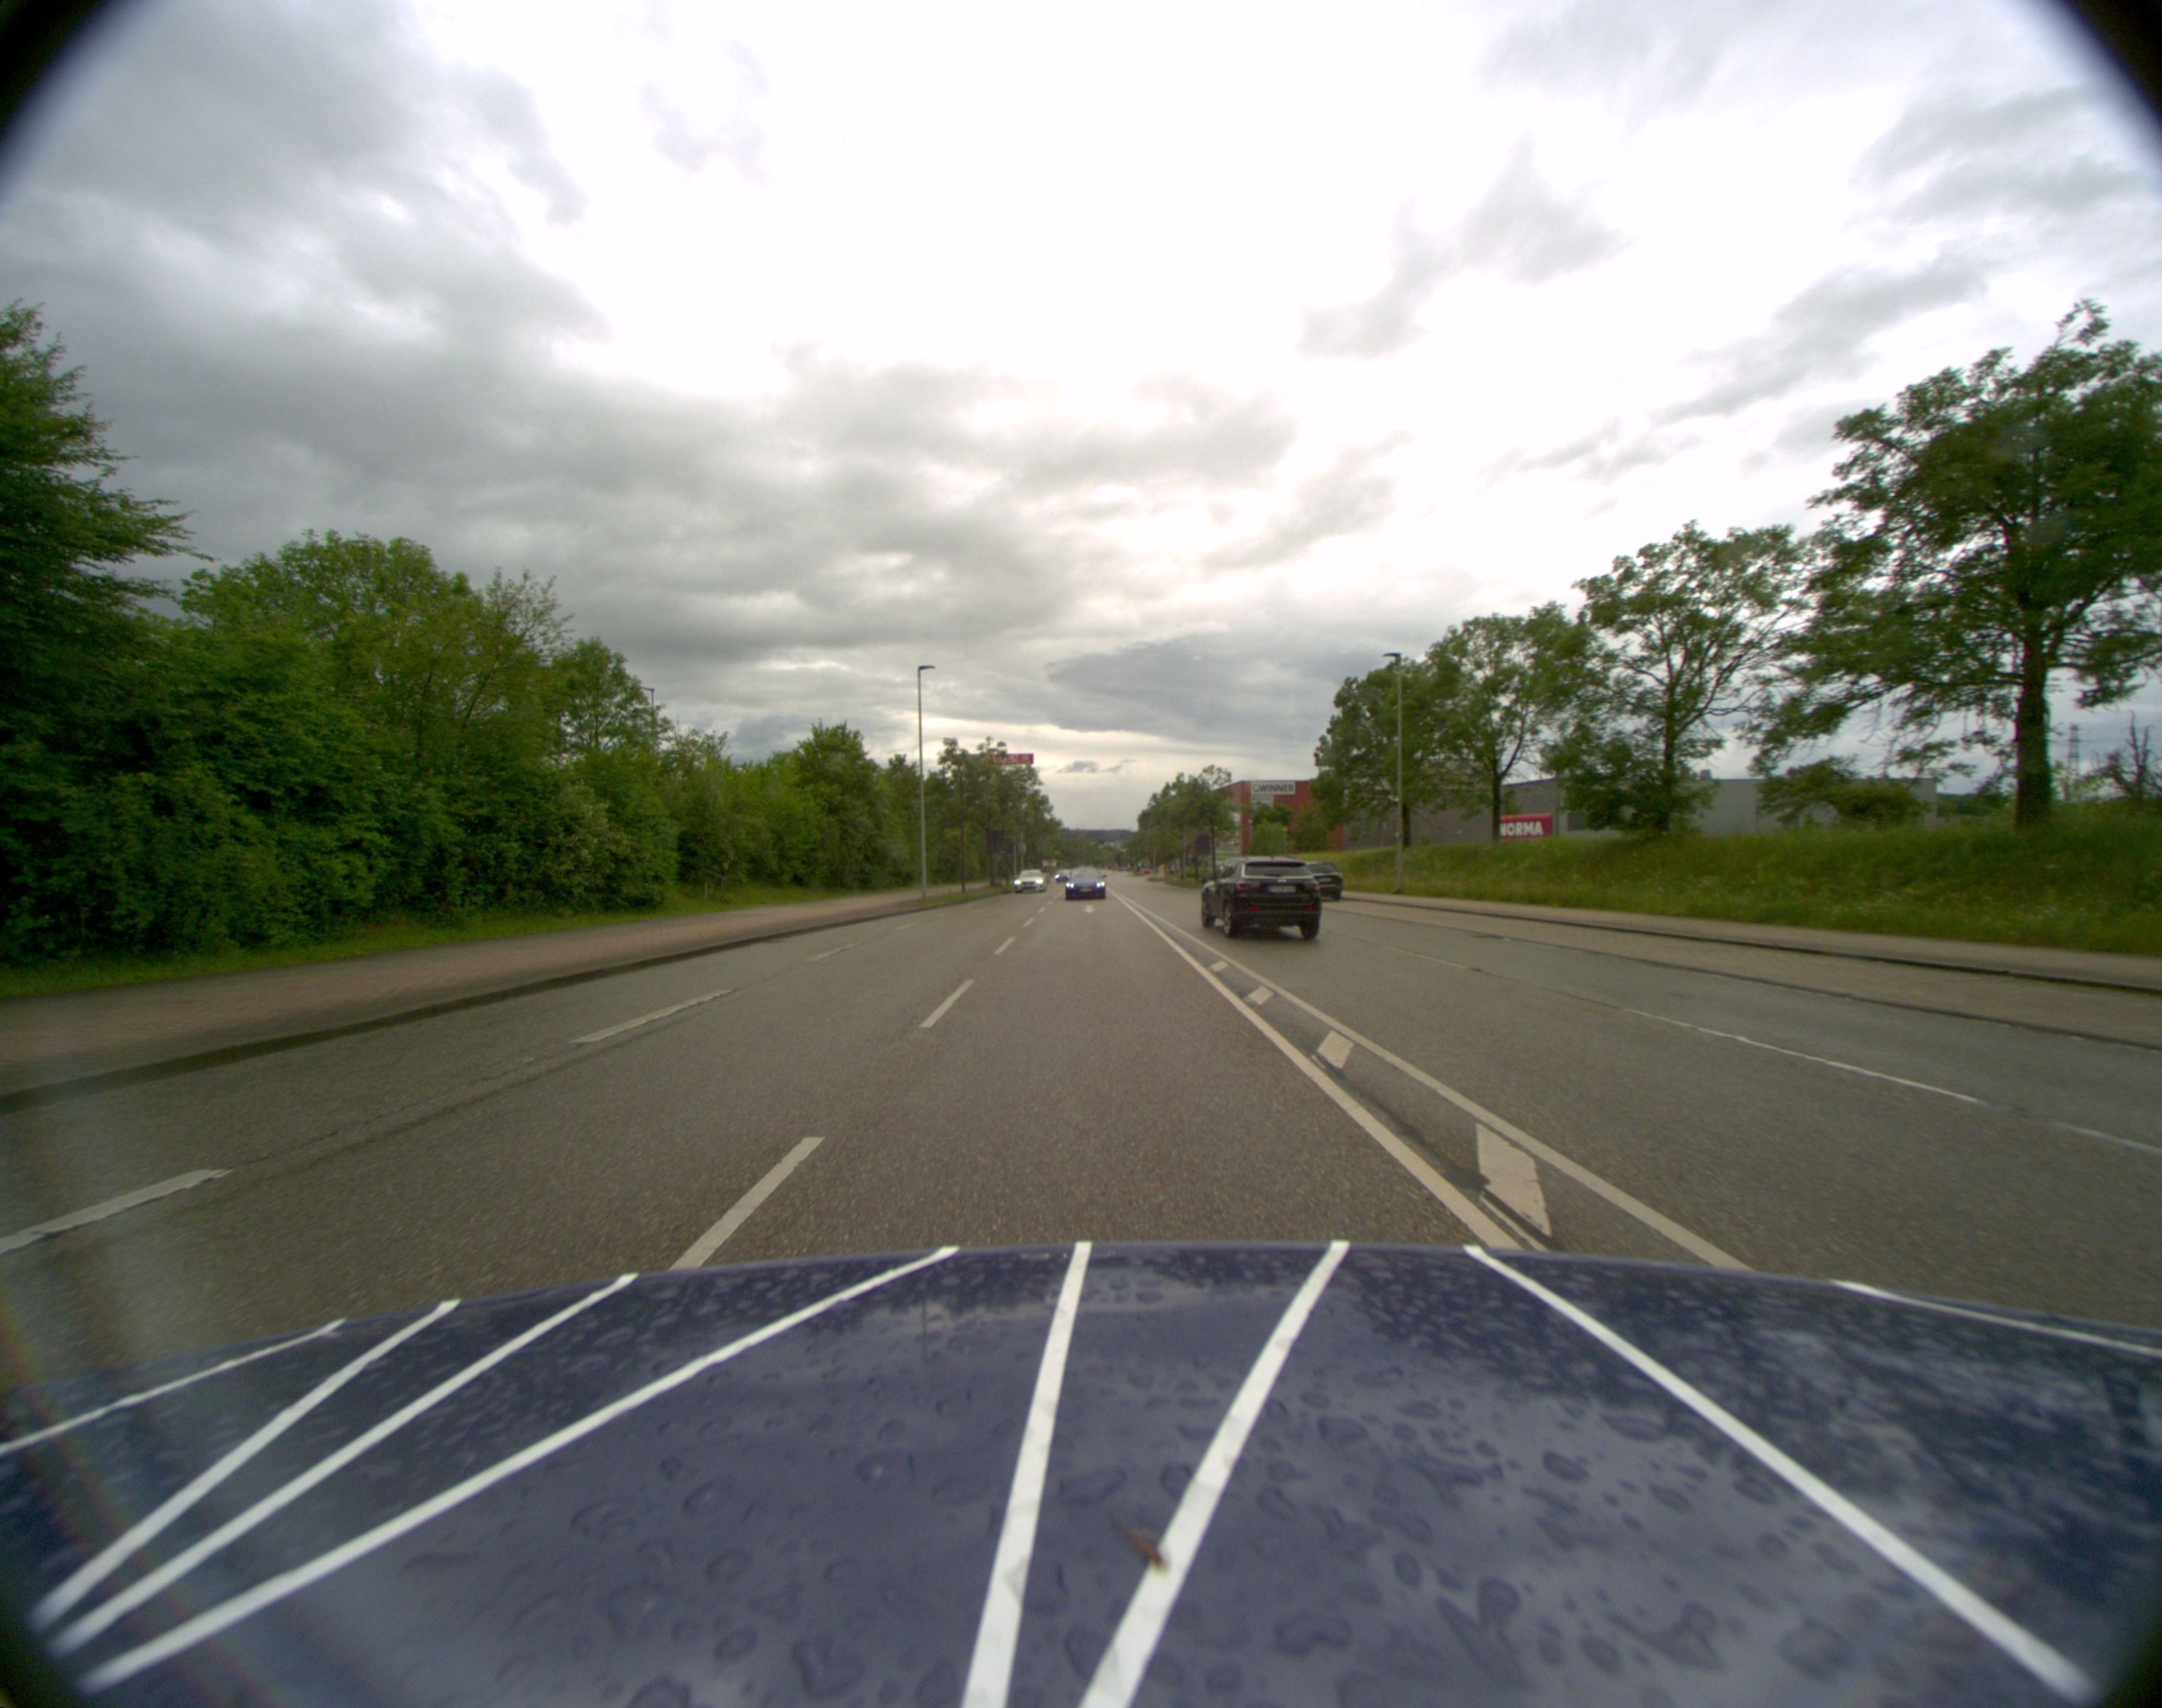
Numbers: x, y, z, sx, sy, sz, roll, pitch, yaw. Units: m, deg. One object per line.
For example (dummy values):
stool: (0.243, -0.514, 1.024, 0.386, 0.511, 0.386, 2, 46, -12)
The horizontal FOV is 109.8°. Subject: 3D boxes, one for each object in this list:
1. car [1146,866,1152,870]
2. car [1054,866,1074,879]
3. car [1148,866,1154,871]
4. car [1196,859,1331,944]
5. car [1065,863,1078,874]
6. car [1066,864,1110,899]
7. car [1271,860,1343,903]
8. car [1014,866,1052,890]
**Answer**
car: (22.755, 4.757, 254.251, 1.679, 1.497, 4.219, 1, -1, 5)
car: (-2.029, 2.265, 93.438, 2.113, 1.609, 4.842, -1, -1, 3)
car: (21.421, 4.409, 231.252, 1.740, 1.445, 4.003, 1, -1, 6)
car: (3.711, 0.920, 16.218, 1.800, 1.574, 4.198, 0, -1, -1)
car: (-1.465, 2.281, 118.609, 1.853, 1.565, 4.000, -2, 0, 0)
car: (0.412, 1.265, 36.276, 1.827, 1.473, 4.842, -2, -1, 3)
car: (9.634, 1.129, 32.773, 1.730, 1.658, 4.488, -2, -1, 1)
car: (-3.049, 1.524, 49.404, 1.863, 1.473, 4.002, -1, -1, 5)
